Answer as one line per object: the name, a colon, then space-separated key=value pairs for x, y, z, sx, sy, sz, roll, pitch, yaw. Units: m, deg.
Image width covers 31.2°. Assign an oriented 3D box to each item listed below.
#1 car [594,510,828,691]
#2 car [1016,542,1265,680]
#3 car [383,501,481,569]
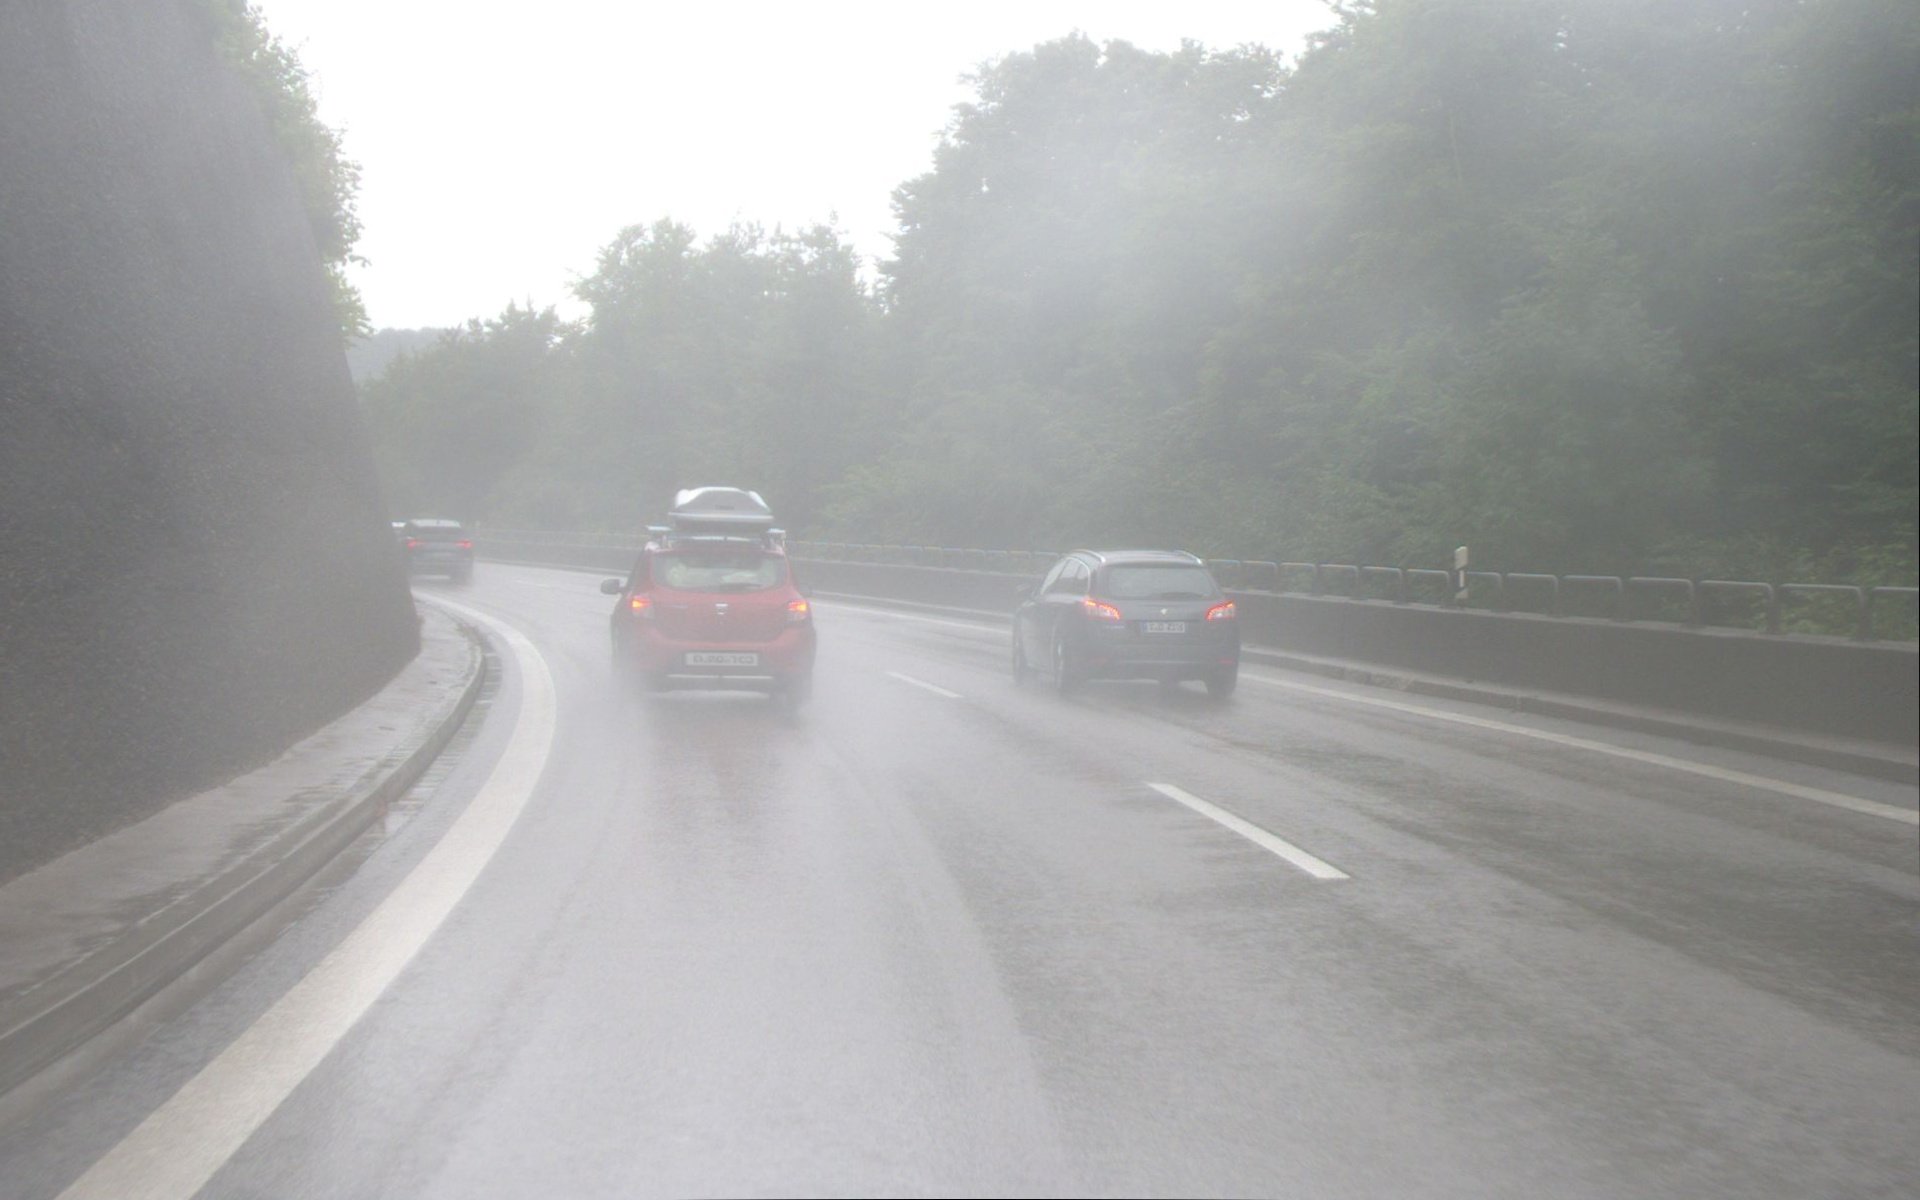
car: x=-2.381 y=-0.018 z=32.021 sx=1.993 sy=1.547 sz=4.001 roll=1 pitch=1 yaw=-6
car: x=1.782 y=0.091 z=35.258 sx=1.800 sy=1.303 sz=4.001 roll=1 pitch=0 yaw=-8
car: x=-13.825 y=-1.669 z=89.836 sx=1.993 sy=1.678 sz=4.001 roll=2 pitch=0 yaw=-16
